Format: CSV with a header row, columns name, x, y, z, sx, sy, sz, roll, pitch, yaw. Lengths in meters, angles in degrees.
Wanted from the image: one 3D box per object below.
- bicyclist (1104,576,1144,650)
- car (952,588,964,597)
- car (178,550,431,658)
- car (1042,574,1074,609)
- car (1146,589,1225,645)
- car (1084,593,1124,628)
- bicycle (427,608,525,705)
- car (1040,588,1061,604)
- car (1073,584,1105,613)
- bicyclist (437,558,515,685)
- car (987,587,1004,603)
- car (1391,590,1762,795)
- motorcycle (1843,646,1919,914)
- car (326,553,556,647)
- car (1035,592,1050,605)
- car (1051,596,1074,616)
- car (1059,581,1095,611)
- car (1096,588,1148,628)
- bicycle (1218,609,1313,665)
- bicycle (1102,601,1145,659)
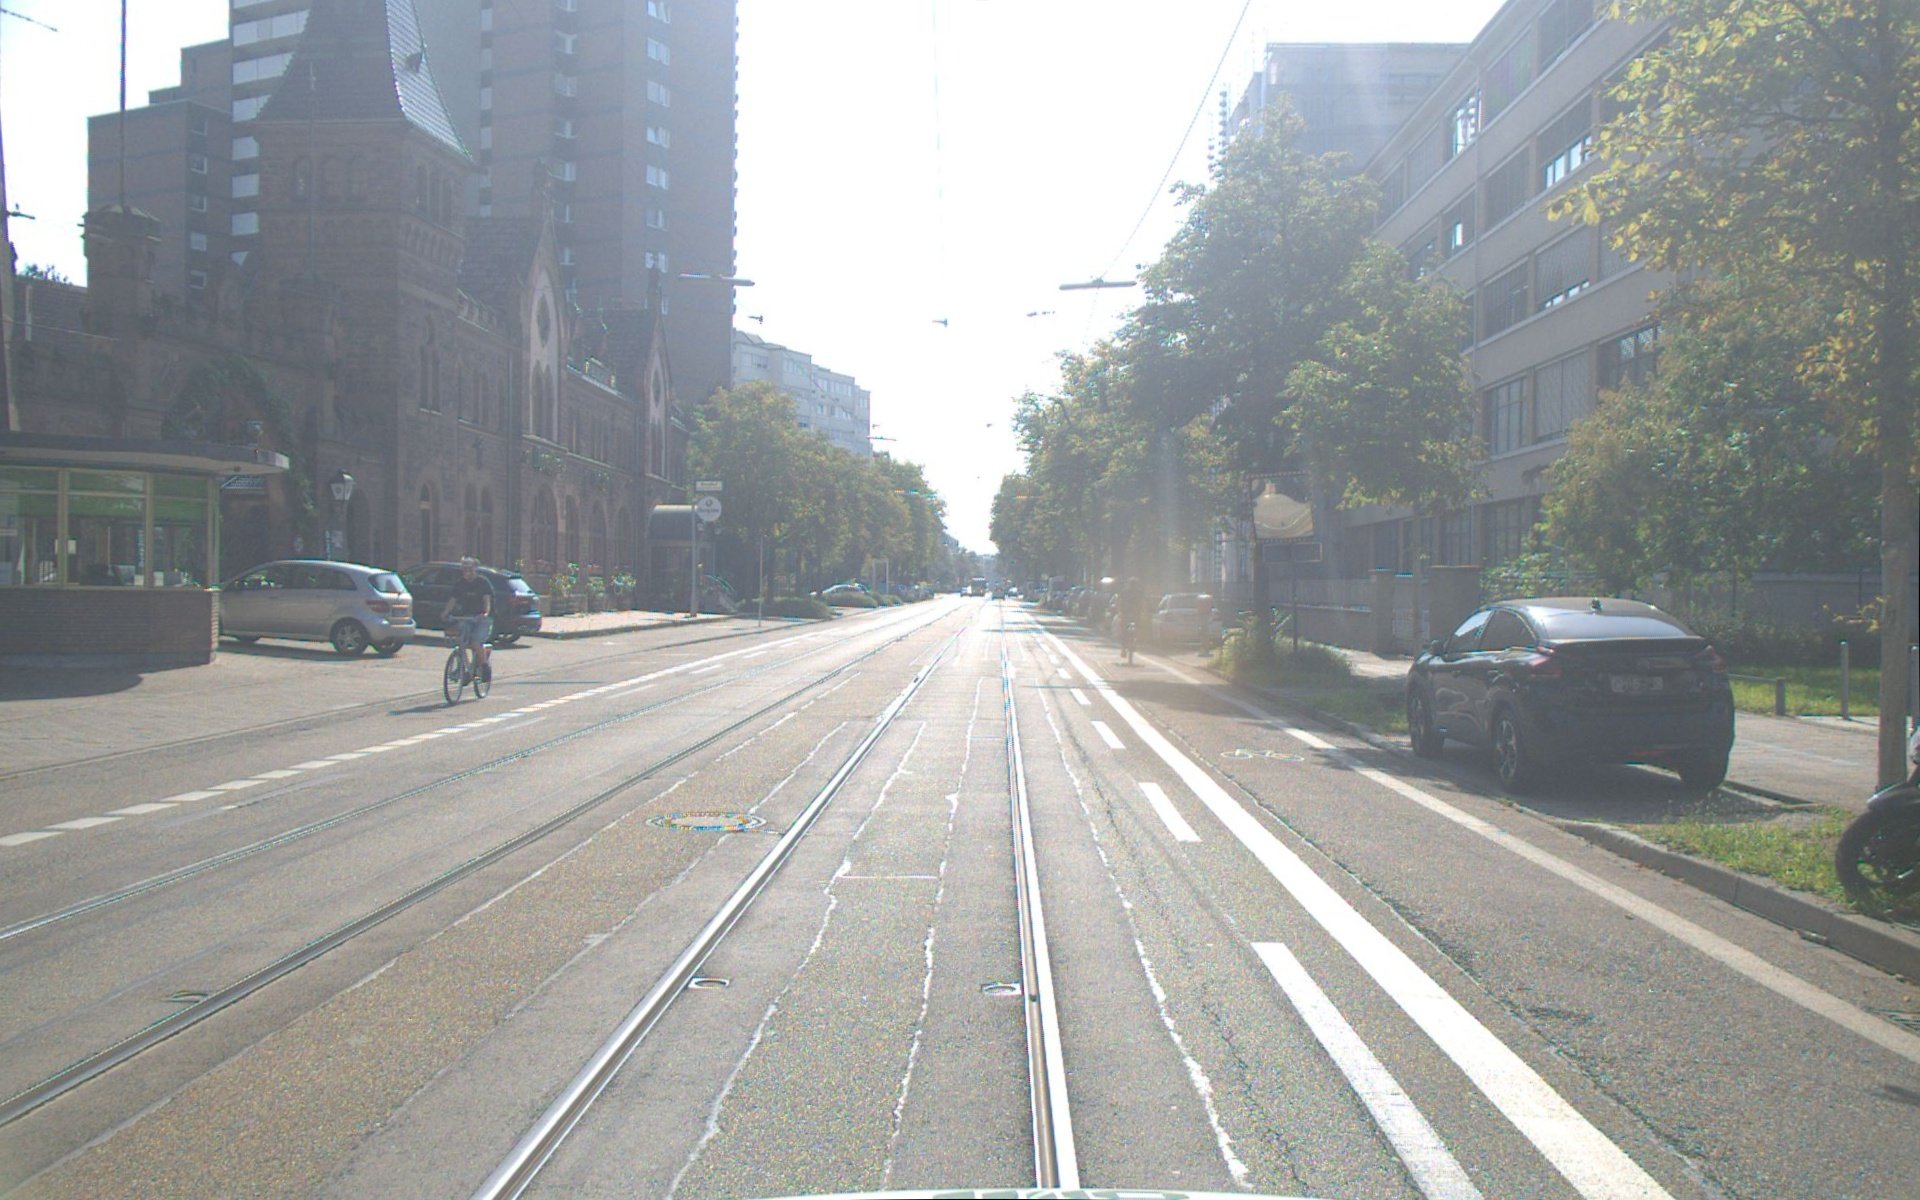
name,x,y,z,sx,sy,sz,roll,pitch,yaw
bicyclist,3.397,0.266,34.322,0.770,1.495,1.116,1,0,3
car,-0.276,-1.106,258.925,1.791,1.400,4.513,1,0,1
car,-11.997,0.054,30.433,3.818,1.623,1.823,5,1,4
car,7.694,-0.669,130.029,2.040,2.597,5.501,-3,0,0
car,6.164,0.447,45.591,1.606,1.455,3.988,0,0,0
car,6.562,0.476,75.668,1.612,1.537,3.779,-1,0,2
bicycle,-6.347,0.712,21.801,0.683,1.178,2.037,-2,0,-1
car,8.112,-0.389,149.125,1.717,1.402,4.720,-1,0,1
car,6.924,-0.100,88.862,1.543,1.510,3.739,-1,1,2
bicyclist,-6.371,0.276,21.814,0.683,1.608,1.087,-2,0,-1
car,4.395,-0.630,203.720,1.952,1.870,4.001,1,0,2
car,5.334,0.700,14.976,1.705,1.512,4.437,-1,1,0
motorcycle,5.294,0.872,7.817,1.944,1.246,0.645,1,0,27
car,-11.274,-0.001,36.152,4.309,1.674,1.956,4,0,-2
car,9.095,-0.142,182.518,1.654,1.443,3.635,1,0,2
car,7.405,0.427,119.887,1.583,1.398,4.828,0,0,2
car,6.965,-0.259,98.798,1.717,1.721,4.396,1,1,-1
car,6.222,0.282,63.956,1.612,1.453,4.085,0,0,0
bicycle,6.115,0.736,33.155,1.733,1.082,0.796,-1,0,-1
bicycle,3.409,0.599,34.641,0.770,1.164,2.306,1,0,3
